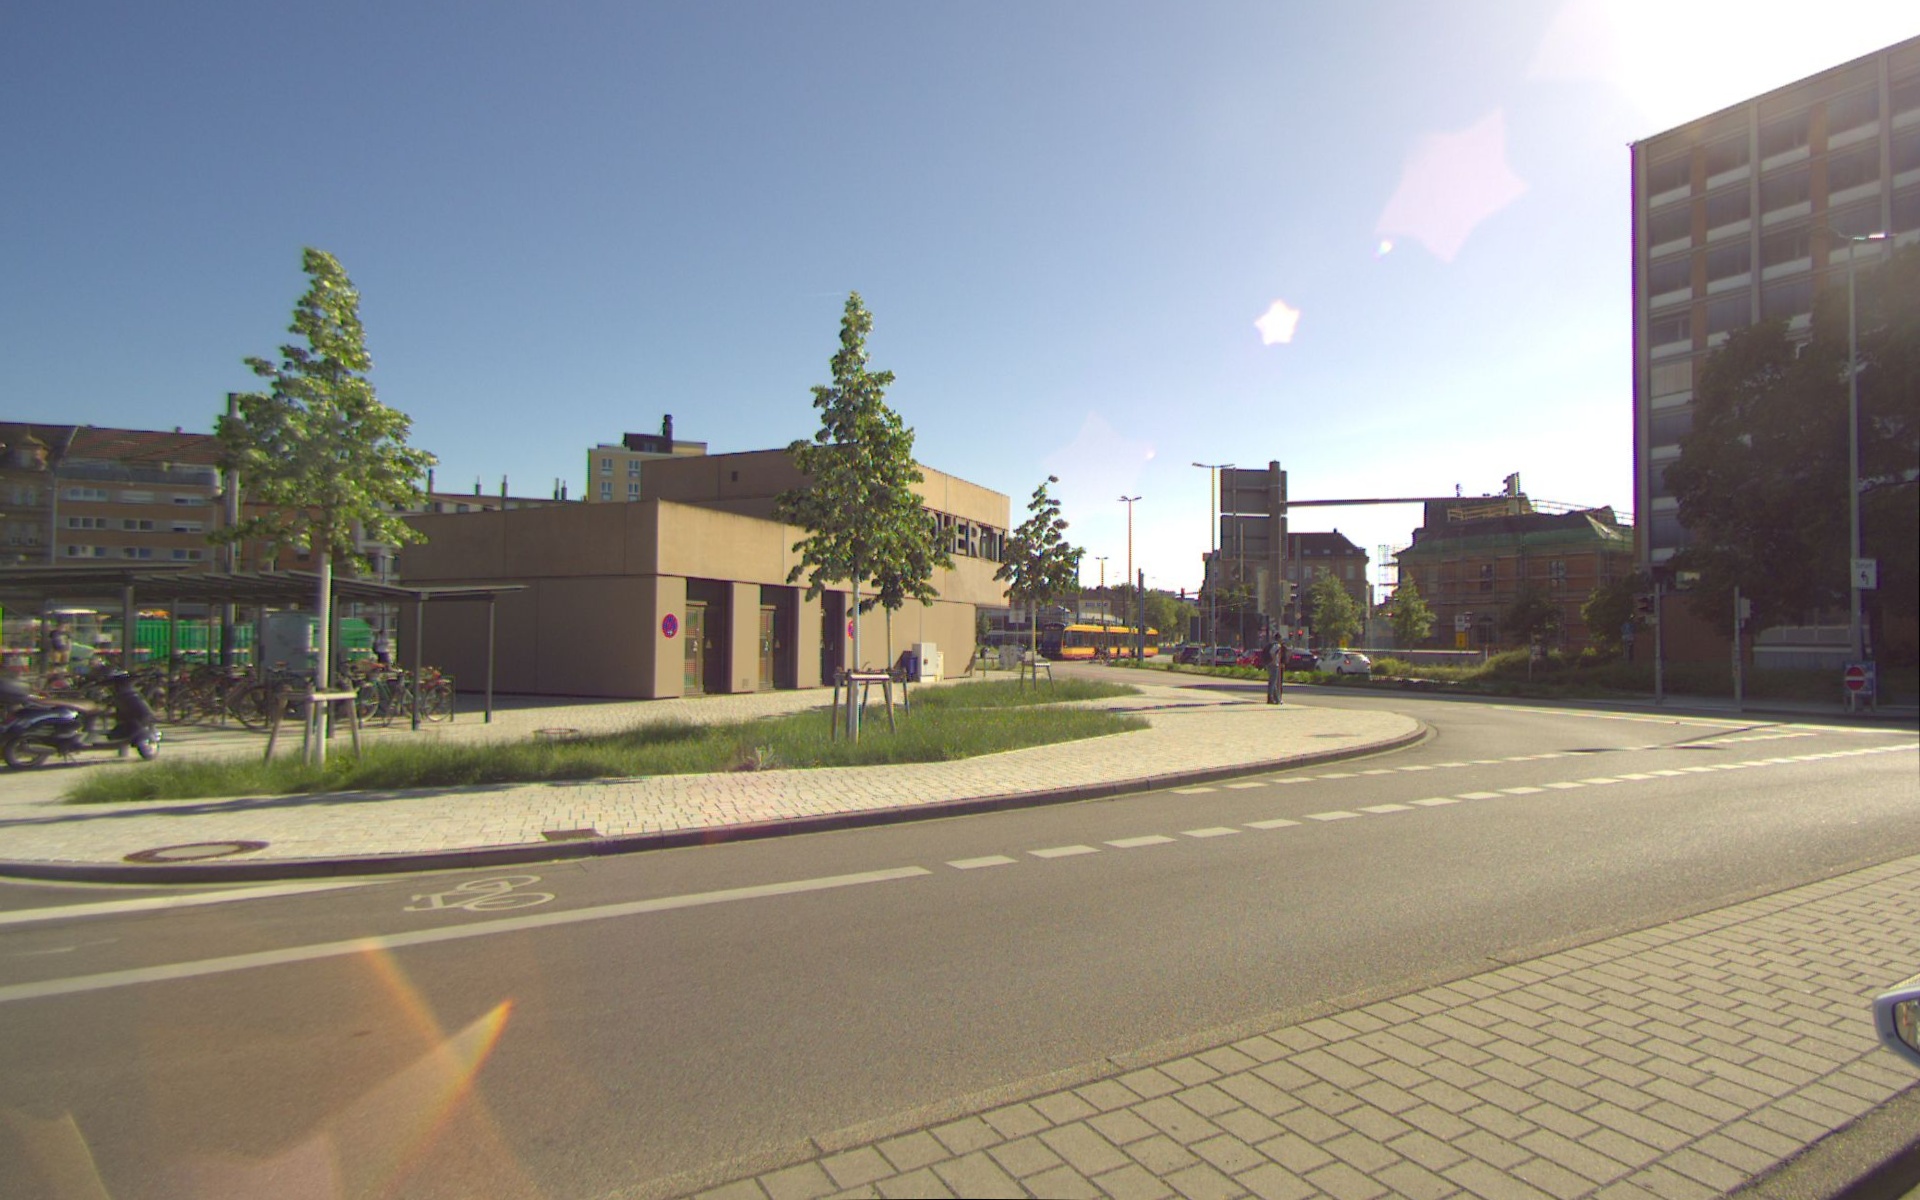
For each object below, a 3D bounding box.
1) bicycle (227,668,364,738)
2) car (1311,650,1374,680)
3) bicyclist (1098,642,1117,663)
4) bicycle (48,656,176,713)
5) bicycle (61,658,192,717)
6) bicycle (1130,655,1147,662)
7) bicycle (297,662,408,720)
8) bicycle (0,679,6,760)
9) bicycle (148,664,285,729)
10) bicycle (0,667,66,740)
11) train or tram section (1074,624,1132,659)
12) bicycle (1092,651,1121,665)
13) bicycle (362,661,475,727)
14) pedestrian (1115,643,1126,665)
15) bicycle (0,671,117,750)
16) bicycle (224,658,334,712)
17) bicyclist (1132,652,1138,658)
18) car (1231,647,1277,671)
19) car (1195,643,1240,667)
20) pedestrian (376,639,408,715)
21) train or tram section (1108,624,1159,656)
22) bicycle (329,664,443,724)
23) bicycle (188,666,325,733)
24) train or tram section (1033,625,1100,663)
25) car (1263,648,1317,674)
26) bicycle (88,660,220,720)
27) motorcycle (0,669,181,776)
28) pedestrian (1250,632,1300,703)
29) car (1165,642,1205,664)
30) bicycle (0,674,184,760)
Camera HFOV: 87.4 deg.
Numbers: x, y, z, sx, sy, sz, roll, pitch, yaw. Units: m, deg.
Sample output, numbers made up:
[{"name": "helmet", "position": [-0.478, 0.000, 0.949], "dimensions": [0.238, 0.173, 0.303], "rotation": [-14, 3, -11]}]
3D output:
[{"name": "bicycle", "position": [-10.909, 1.664, 16.566], "dimensions": [0.449, 1.022, 1.902], "rotation": [0, -2, 26]}, {"name": "car", "position": [21.255, 3.595, 55.929], "dimensions": [1.760, 1.528, 3.880], "rotation": [1, -2, -6]}, {"name": "bicyclist", "position": [12.442, 4.412, 84.670], "dimensions": [1.544, 1.655, 0.811], "rotation": [2, 0, 4]}, {"name": "bicycle", "position": [-16.699, 1.640, 19.835], "dimensions": [0.449, 1.022, 1.902], "rotation": [0, -2, 26]}, {"name": "bicycle", "position": [-15.916, 1.645, 19.236], "dimensions": [0.449, 1.022, 1.902], "rotation": [0, -2, 26]}, {"name": "bicycle", "position": [15.063, 4.911, 84.602], "dimensions": [1.381, 0.556, 0.435], "rotation": [0, -2, 11]}, {"name": "bicycle", "position": [-11.796, 1.745, 19.573], "dimensions": [0.449, 1.022, 1.902], "rotation": [0, -2, 26]}, {"name": "bicycle", "position": [-12.744, 1.486, 11.999], "dimensions": [0.449, 1.022, 1.902], "rotation": [0, -2, 26]}, {"name": "bicycle", "position": [-12.897, 1.650, 17.486], "dimensions": [0.449, 1.022, 1.902], "rotation": [0, -2, 26]}, {"name": "bicycle", "position": [-14.158, 1.510, 14.442], "dimensions": [0.449, 1.022, 1.902], "rotation": [0, -2, 26]}, {"name": "train or tram section", "position": [14.839, 4.204, 103.316], "dimensions": [2.651, 3.275, 10.589], "rotation": [2, 0, 27]}, {"name": "bicycle", "position": [12.348, 4.882, 84.664], "dimensions": [2.370, 1.076, 0.811], "rotation": [2, 0, 4]}, {"name": "bicycle", "position": [-9.926, 1.698, 18.486], "dimensions": [0.449, 1.112, 1.902], "rotation": [0, -2, 26]}, {"name": "pedestrian", "position": [13.062, 4.428, 81.856], "dimensions": [0.761, 1.786, 0.706], "rotation": [0, -2, 3]}, {"name": "bicycle", "position": [-13.028, 1.538, 14.011], "dimensions": [0.449, 1.022, 1.902], "rotation": [0, -2, 26]}, {"name": "bicycle", "position": [-14.071, 1.730, 20.825], "dimensions": [0.449, 1.022, 1.902], "rotation": [0, -2, 26]}, {"name": "bicyclist", "position": [14.757, 4.630, 84.684], "dimensions": [0.560, 0.556, 0.431], "rotation": [0, -2, 11]}, {"name": "car", "position": [20.212, 4.034, 69.245], "dimensions": [1.760, 1.528, 3.880], "rotation": [1, -2, -6]}, {"name": "car", "position": [17.464, 3.695, 68.266], "dimensions": [1.760, 1.528, 3.880], "rotation": [1, -2, -6]}, {"name": "pedestrian", "position": [-15.645, 2.104, 27.682], "dimensions": [0.710, 2.040, 0.682], "rotation": [2, -2, -30]}, {"name": "train or tram section", "position": [19.552, 4.394, 112.799], "dimensions": [2.651, 3.275, 10.589], "rotation": [2, 0, 27]}, {"name": "bicycle", "position": [-10.706, 1.736, 18.815], "dimensions": [0.449, 1.022, 1.902], "rotation": [0, -2, 26]}, {"name": "bicycle", "position": [-11.888, 1.654, 17.055], "dimensions": [0.449, 1.022, 1.902], "rotation": [0, -2, 26]}, {"name": "train or tram section", "position": [10.105, 4.014, 93.810], "dimensions": [2.651, 3.275, 10.589], "rotation": [2, 0, 27]}, {"name": "car", "position": [20.582, 3.769, 62.785], "dimensions": [1.760, 1.528, 3.880], "rotation": [1, -2, -6]}, {"name": "bicycle", "position": [-15.080, 1.657, 18.861], "dimensions": [0.449, 1.022, 1.902], "rotation": [0, -2, 26]}, {"name": "motorcycle", "position": [-10.919, 1.477, 12.466], "dimensions": [0.508, 1.166, 1.947], "rotation": [0, -2, 25]}, {"name": "pedestrian", "position": [7.966, 1.689, 25.422], "dimensions": [1.044, 1.753, 0.652], "rotation": [1, -2, -16]}, {"name": "car", "position": [16.783, 3.931, 74.993], "dimensions": [1.760, 1.528, 3.880], "rotation": [1, -2, -6]}, {"name": "bicycle", "position": [-11.813, 1.558, 13.719], "dimensions": [0.449, 1.022, 1.902], "rotation": [0, -2, 26]}]
